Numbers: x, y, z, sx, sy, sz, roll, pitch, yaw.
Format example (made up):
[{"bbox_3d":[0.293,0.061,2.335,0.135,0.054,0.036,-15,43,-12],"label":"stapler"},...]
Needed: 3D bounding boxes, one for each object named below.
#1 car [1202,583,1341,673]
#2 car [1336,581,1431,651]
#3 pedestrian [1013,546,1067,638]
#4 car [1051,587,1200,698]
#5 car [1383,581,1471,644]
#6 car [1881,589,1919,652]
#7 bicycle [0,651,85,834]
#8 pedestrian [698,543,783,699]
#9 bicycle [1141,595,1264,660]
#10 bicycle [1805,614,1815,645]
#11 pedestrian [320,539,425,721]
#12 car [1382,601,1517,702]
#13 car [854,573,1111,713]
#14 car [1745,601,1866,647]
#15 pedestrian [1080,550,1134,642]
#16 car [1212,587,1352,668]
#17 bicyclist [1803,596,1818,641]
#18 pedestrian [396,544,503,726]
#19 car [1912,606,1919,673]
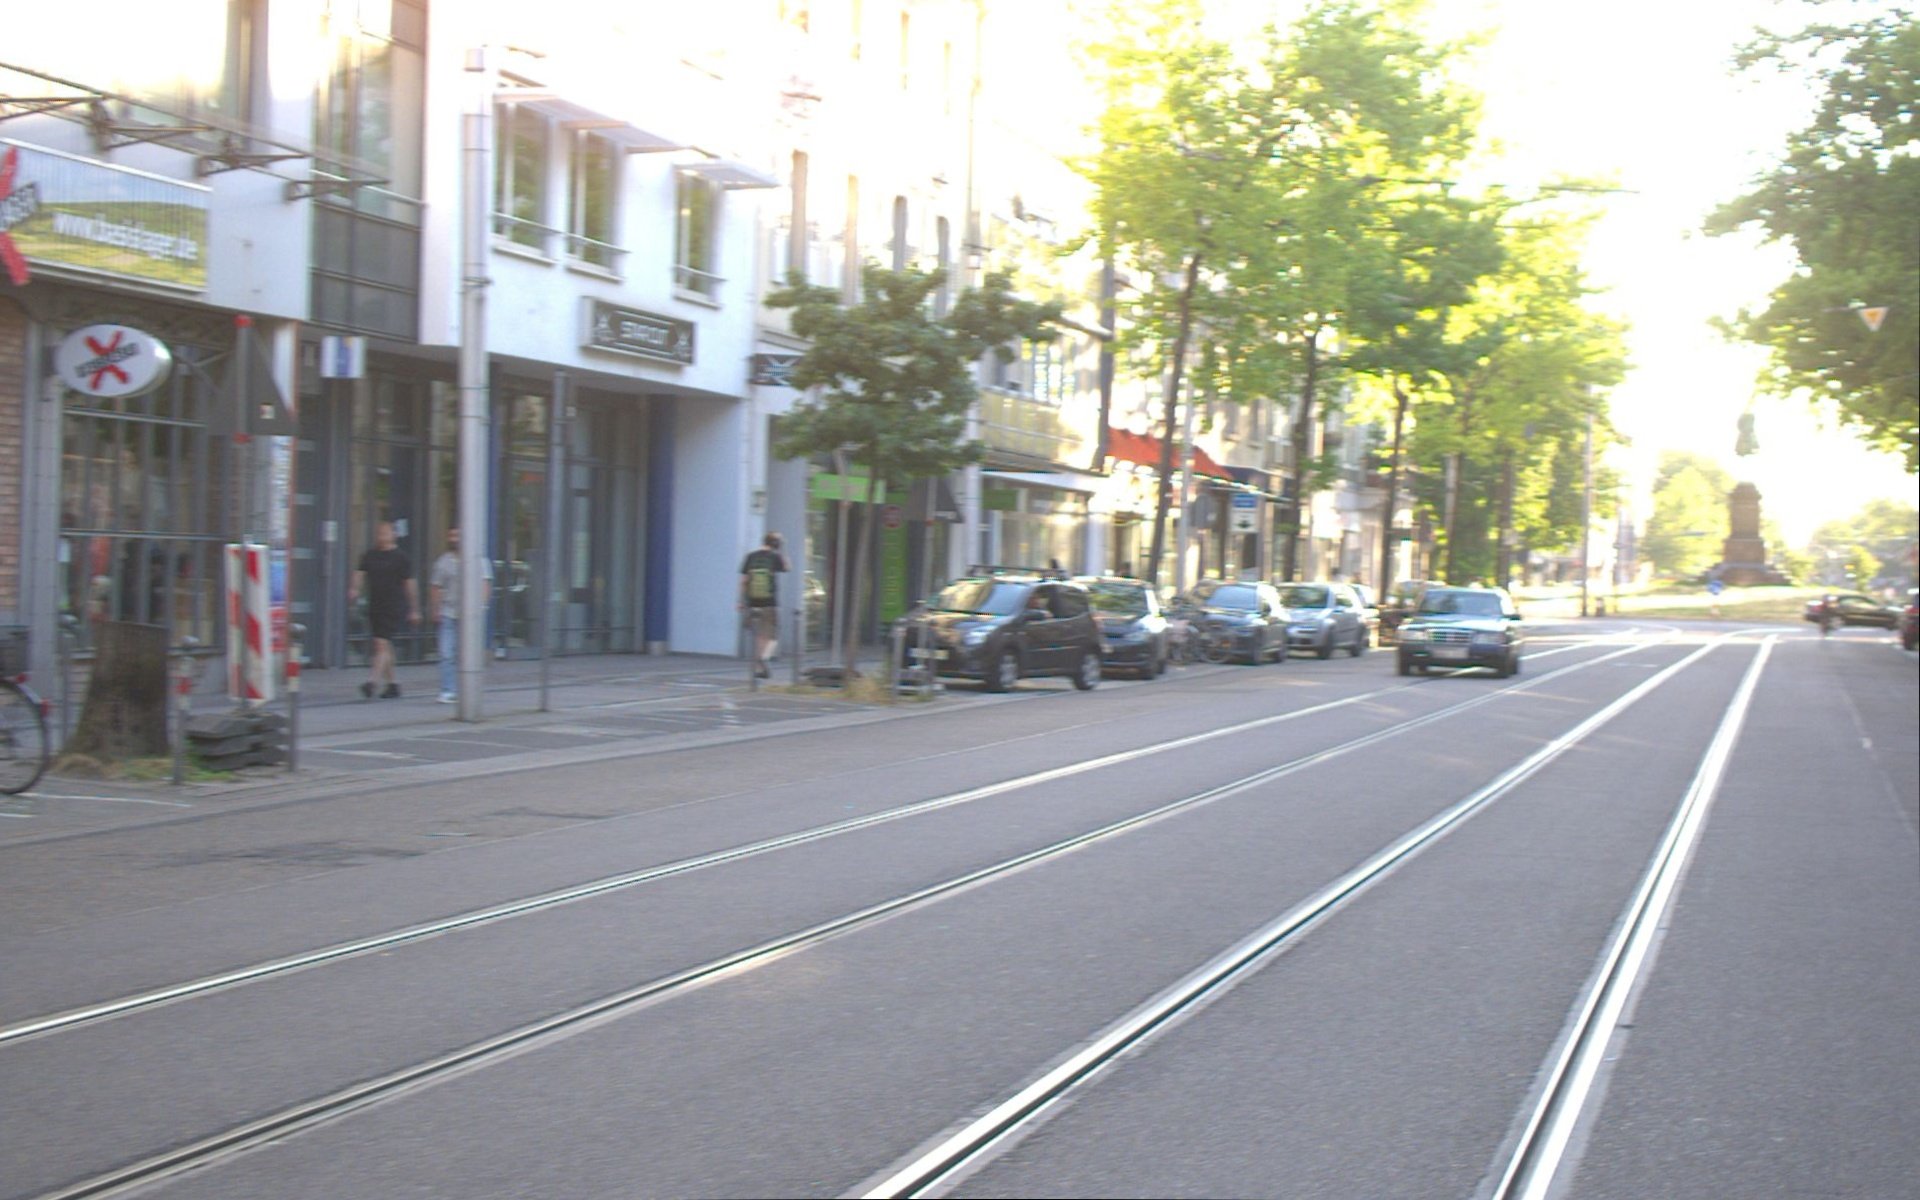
[{"bbox_3d":[5.669,0.477,62.078,1.713,1.456,4.483,4,1,14],"label":"car"},{"bbox_3d":[9.853,0.349,79.784,1.667,1.423,3.825,5,2,14],"label":"car"},{"bbox_3d":[1.506,-0.153,64.507,0.789,1.687,0.913,2,1,14],"label":"pedestrian"},{"bbox_3d":[2.558,0.609,52.271,1.792,1.485,4.241,4,1,8],"label":"car"},{"bbox_3d":[13.216,0.338,97.156,1.837,1.574,4.113,6,2,15],"label":"car"},{"bbox_3d":[28.065,0.563,100.762,1.939,1.753,4.676,-2,0,14],"label":"car"},{"bbox_3d":[-6.098,0.778,20.405,1.747,0.988,0.478,6,3,22],"label":"bicycle"},{"bbox_3d":[-2.652,0.242,41.589,0.660,1.819,0.878,5,2,14],"label":"pedestrian"},{"bbox_3d":[4.019,0.445,57.004,1.972,0.998,0.330,2,1,17],"label":"bicycle"},{"bbox_3d":[28.104,0.968,113.677,0.264,0.979,1.337,2,1,14],"label":"bicycle"},{"bbox_3d":[-5.696,0.282,33.358,0.628,1.707,0.807,3,1,18],"label":"pedestrian"},{"bbox_3d":[7.787,0.780,54.403,1.780,1.402,4.525,2,1,12],"label":"car"},{"bbox_3d":[0.330,0.524,44.172,1.633,1.610,3.702,4,2,29],"label":"car"},{"bbox_3d":[34.577,0.973,140.589,4.678,1.678,1.998,2,1,17],"label":"car"},{"bbox_3d":[2.762,-0.074,64.484,0.844,1.687,0.740,2,1,14],"label":"pedestrian"},{"bbox_3d":[6.404,0.523,68.100,1.769,1.492,4.171,2,1,19],"label":"car"},{"bbox_3d":[28.131,0.608,113.714,0.428,1.476,0.465,2,1,15],"label":"bicyclist"},{"bbox_3d":[-4.942,0.328,33.298,0.642,1.707,0.828,3,1,18],"label":"pedestrian"},{"bbox_3d":[24.074,0.918,83.089,1.995,1.493,4.676,-1,0,15],"label":"car"}]
